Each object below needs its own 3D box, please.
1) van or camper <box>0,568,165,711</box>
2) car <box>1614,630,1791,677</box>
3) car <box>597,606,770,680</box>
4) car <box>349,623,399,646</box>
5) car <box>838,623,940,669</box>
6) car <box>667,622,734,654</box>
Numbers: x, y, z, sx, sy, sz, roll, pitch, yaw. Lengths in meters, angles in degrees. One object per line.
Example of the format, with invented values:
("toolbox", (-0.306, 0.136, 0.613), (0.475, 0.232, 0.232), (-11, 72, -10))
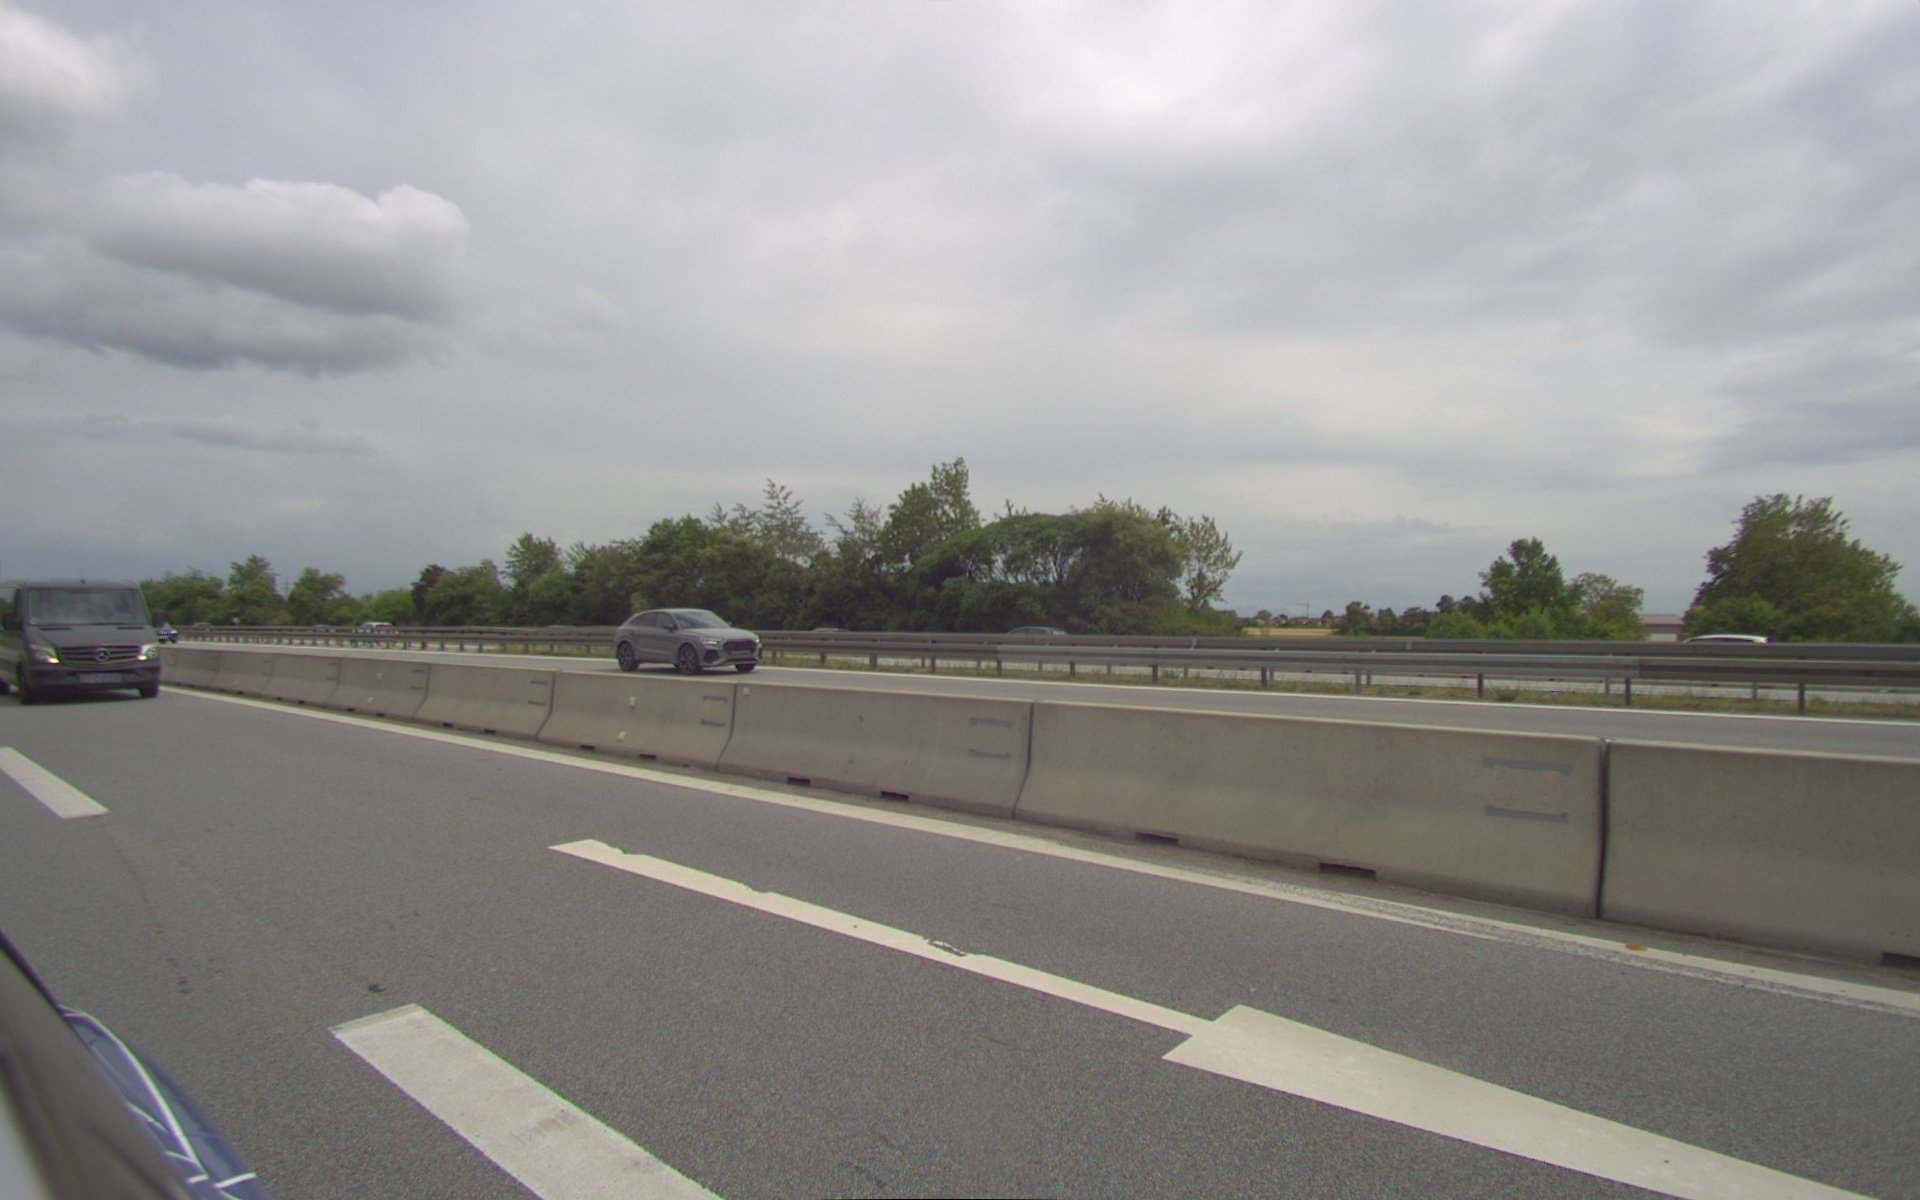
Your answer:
("van or camper", (-17.462, 0.714, 19.700), (6.122, 2.389, 1.979), (-1, -1, 41))
("car", (21.324, 1.496, 29.146), (4.000, 1.201, 1.670), (-1, -1, 39))
("car", (-6.892, 1.008, 24.960), (4.642, 1.652, 1.881), (-1, -1, 41))
("car", (-41.048, 2.405, 70.844), (3.714, 1.531, 1.716), (-1, -1, 37))
("car", (-2.874, 1.824, 40.704), (3.993, 1.741, 1.671), (-1, -1, 37))
("car", (-14.968, 2.161, 58.273), (3.996, 1.741, 1.670), (-1, -1, 39))
